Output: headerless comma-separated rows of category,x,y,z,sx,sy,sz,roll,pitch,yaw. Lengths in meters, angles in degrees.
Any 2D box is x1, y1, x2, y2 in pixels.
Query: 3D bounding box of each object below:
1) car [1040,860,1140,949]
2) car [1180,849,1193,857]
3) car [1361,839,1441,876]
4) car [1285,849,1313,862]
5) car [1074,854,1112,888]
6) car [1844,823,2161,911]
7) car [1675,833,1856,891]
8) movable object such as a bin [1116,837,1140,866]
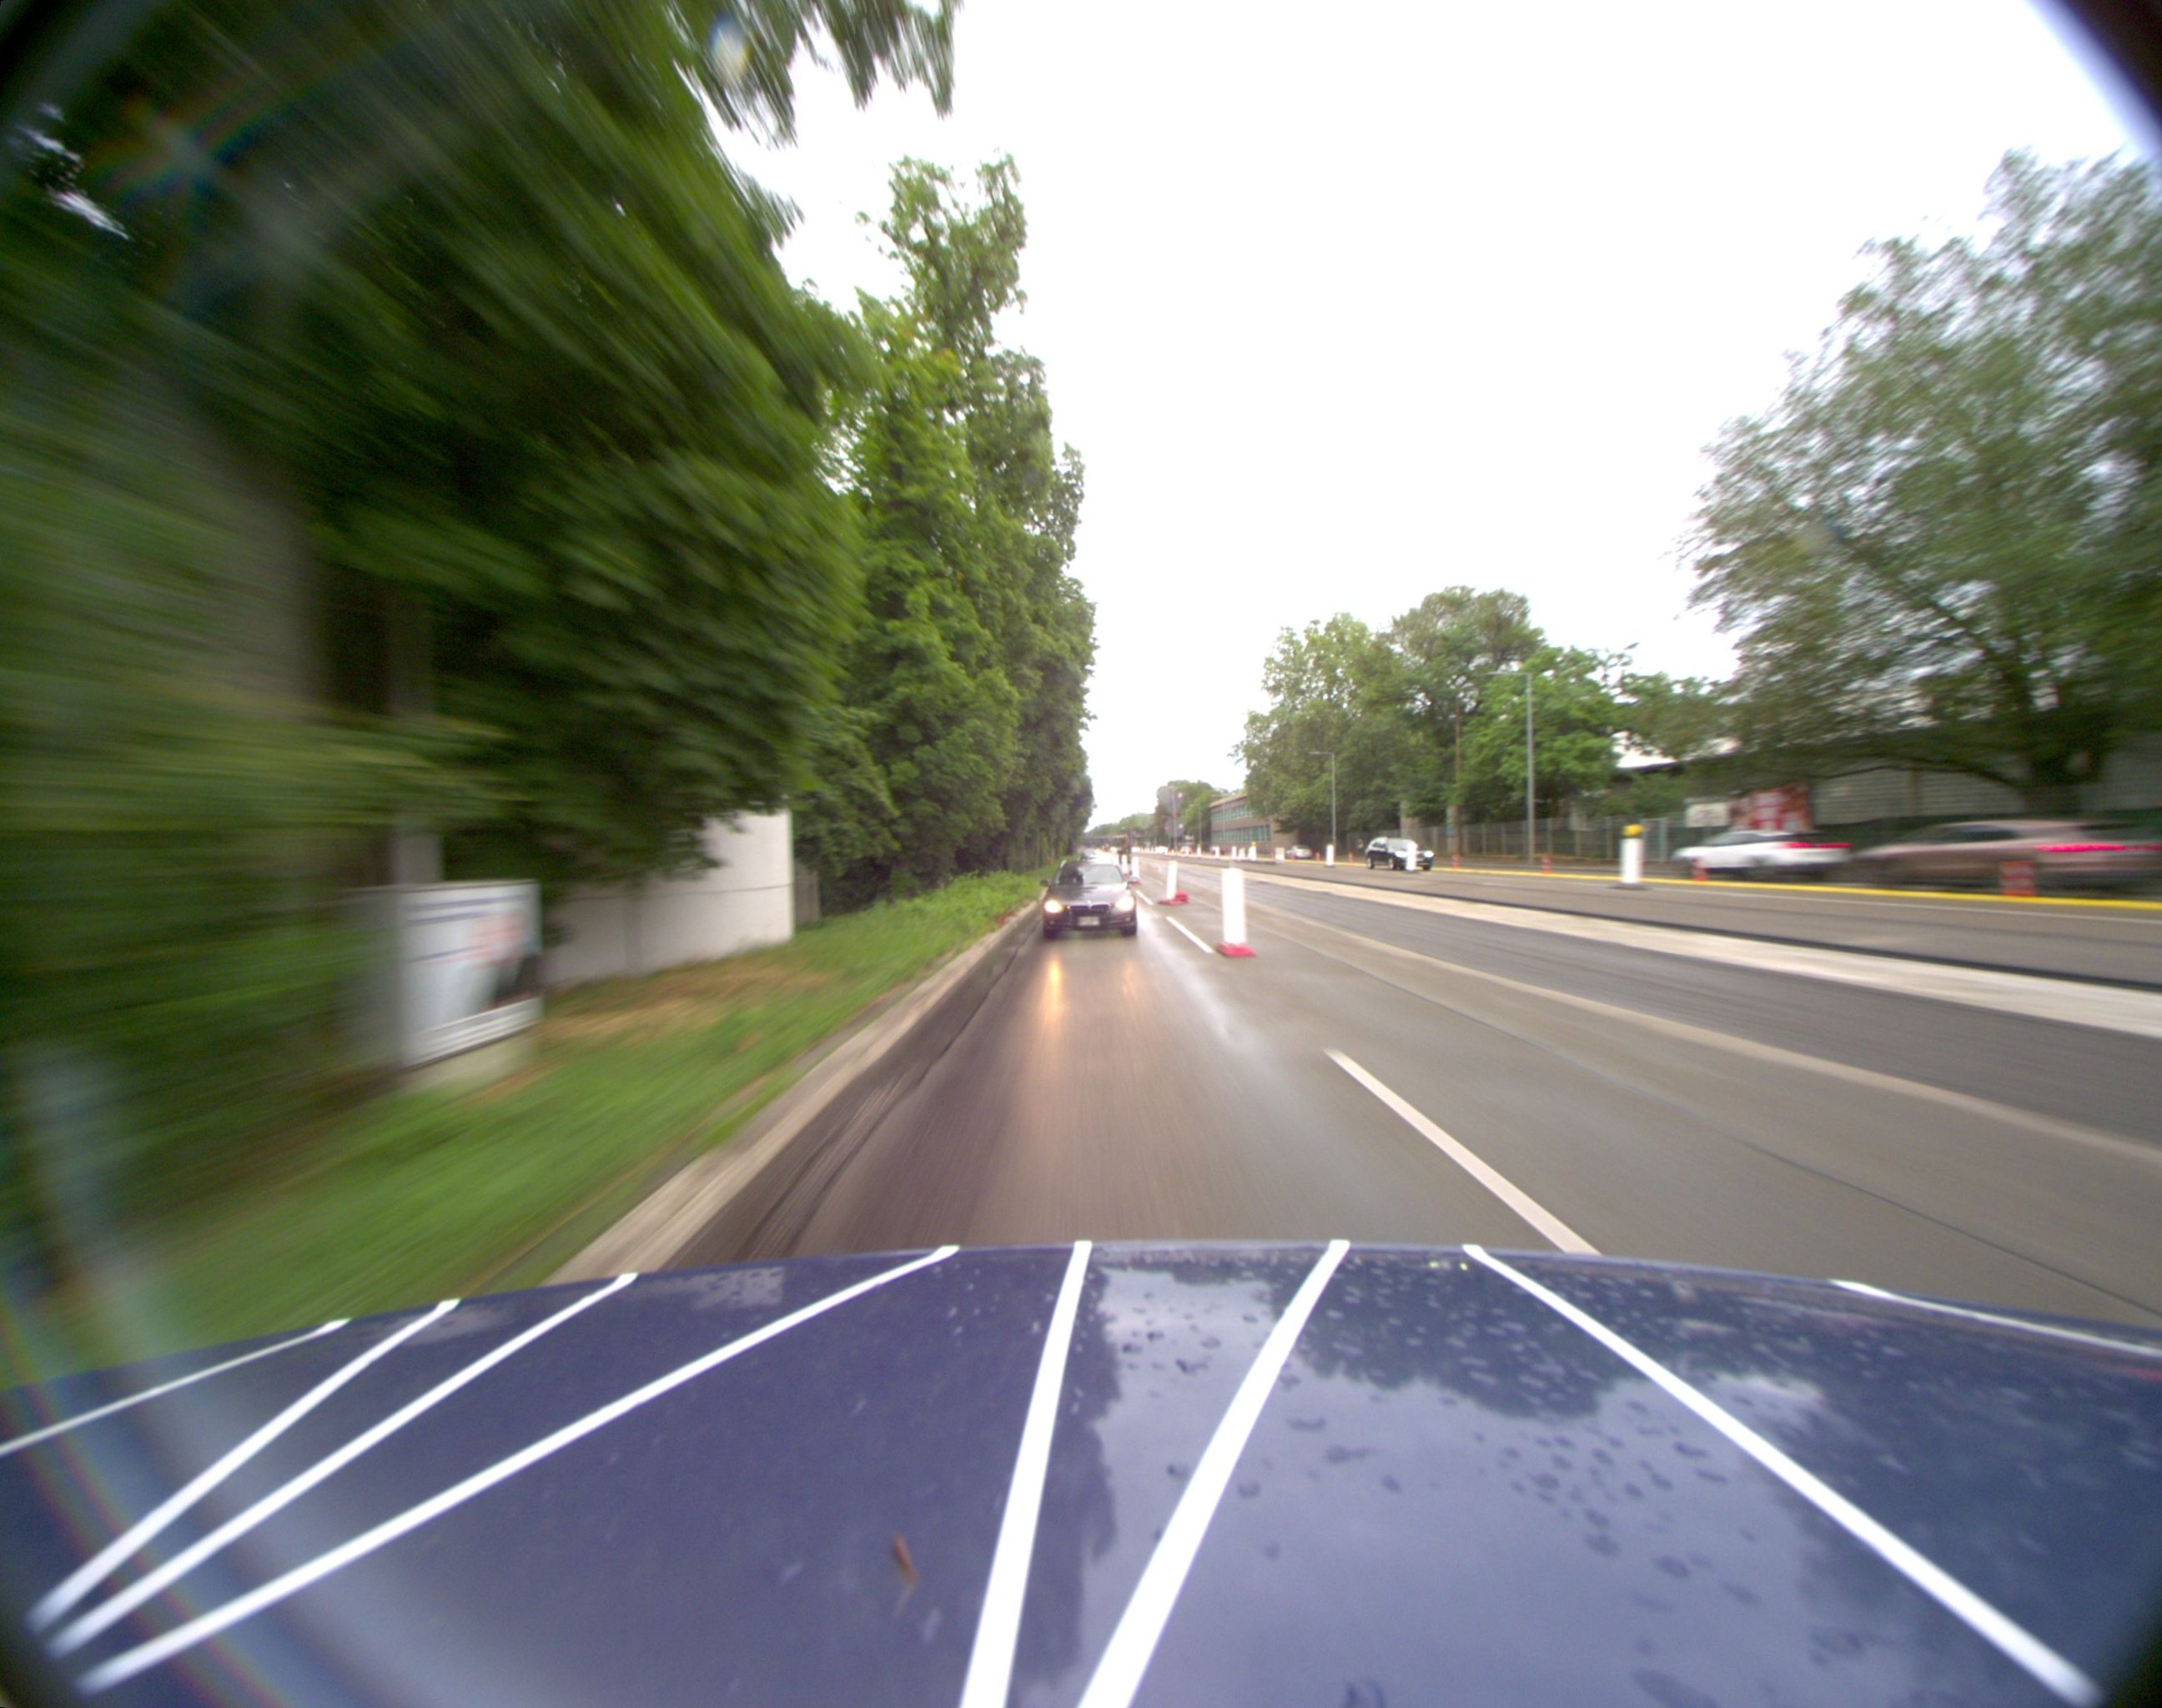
car,0.209,0.917,15.838,1.742,1.454,4.458,-2,1,1
car,20.335,-0.198,146.526,1.841,1.426,4.148,-2,1,1
car,15.812,0.193,37.841,1.998,1.696,4.985,1,0,2
car,22.030,0.128,76.842,1.671,1.307,4.455,0,0,1
car,0.614,0.796,37.899,1.742,1.454,4.458,-2,1,1
car,19.389,0.235,16.193,1.863,1.610,4.365,1,0,1
car,21.627,0.220,24.307,1.863,1.696,4.365,1,0,1
movable object such as a bin,5.219,-0.304,85.028,1.999,3.084,5.622,-2,1,-2
